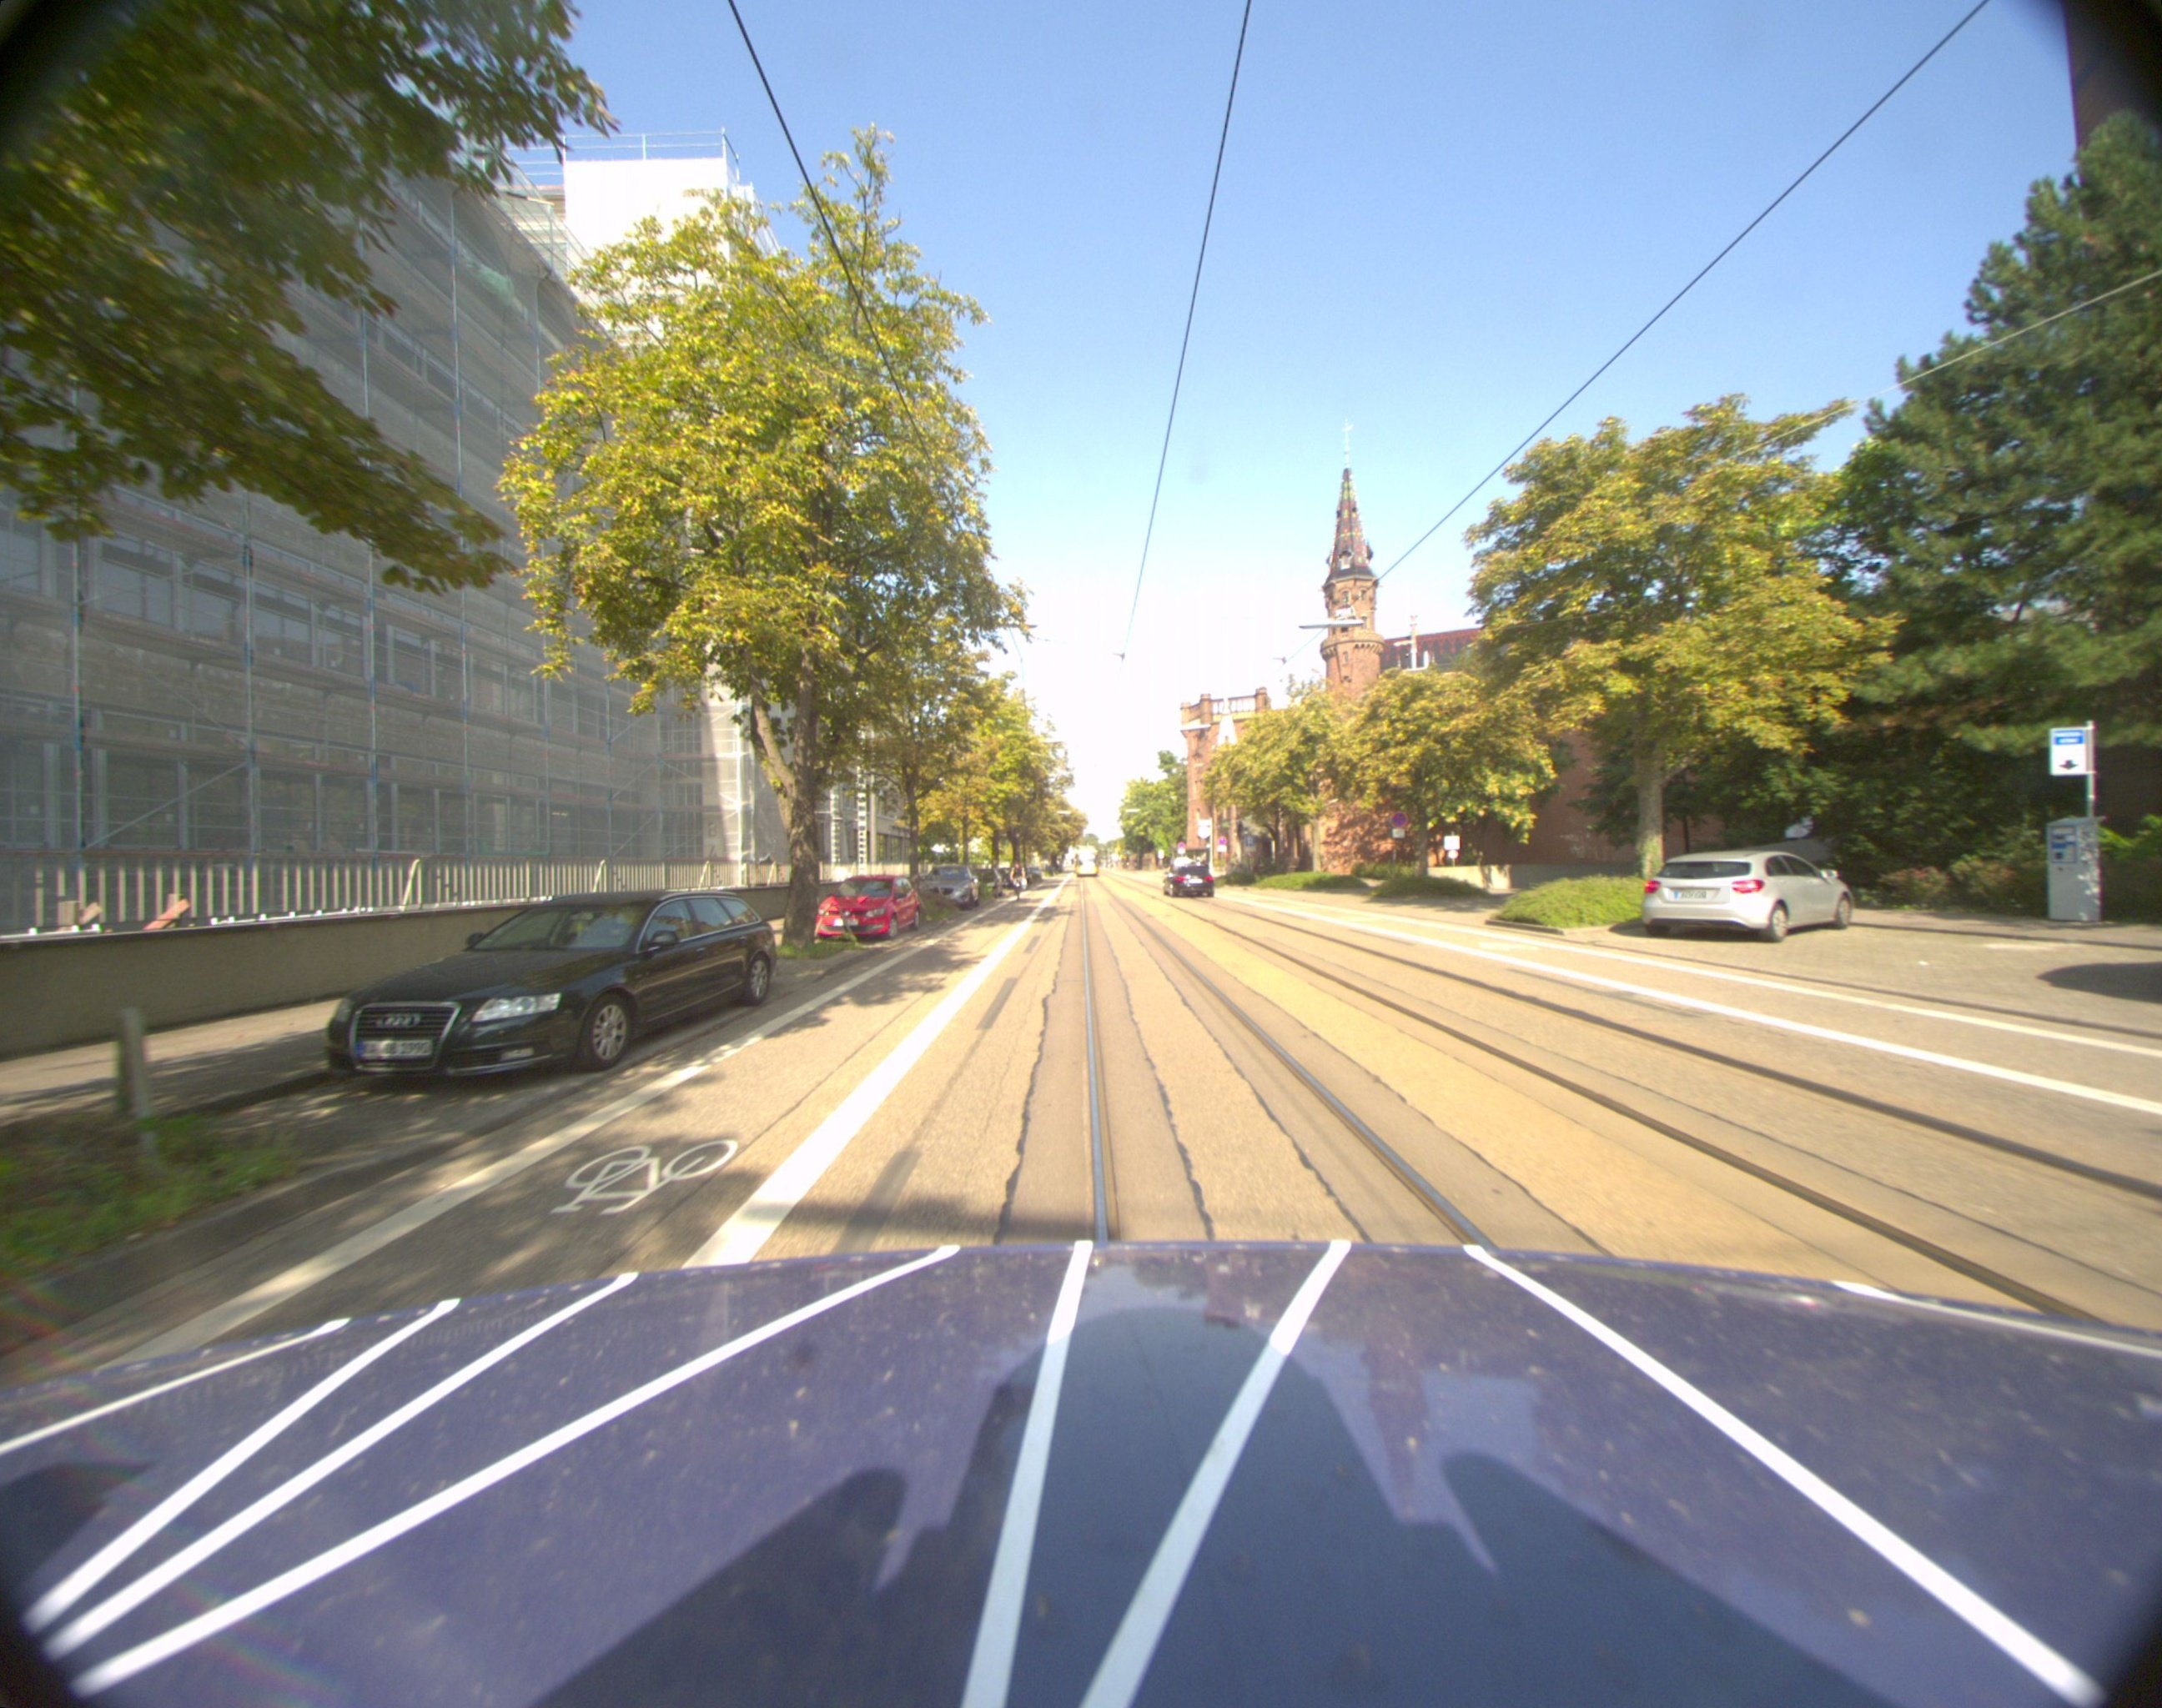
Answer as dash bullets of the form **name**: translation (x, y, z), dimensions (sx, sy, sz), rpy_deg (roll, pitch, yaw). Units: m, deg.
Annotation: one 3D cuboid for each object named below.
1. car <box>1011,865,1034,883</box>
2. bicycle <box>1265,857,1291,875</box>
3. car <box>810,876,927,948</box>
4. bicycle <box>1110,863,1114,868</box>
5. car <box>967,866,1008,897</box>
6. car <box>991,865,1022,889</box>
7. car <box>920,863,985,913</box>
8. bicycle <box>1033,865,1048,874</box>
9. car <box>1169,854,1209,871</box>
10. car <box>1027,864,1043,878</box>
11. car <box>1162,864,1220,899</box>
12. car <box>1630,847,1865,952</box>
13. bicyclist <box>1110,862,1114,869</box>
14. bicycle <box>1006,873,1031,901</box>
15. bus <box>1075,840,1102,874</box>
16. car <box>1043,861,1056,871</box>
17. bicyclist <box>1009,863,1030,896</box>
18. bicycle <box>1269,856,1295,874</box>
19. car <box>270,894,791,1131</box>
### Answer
- **car**: translation (-4.885, 1.652, 63.546), dimensions (1.650, 1.420, 4.084), rpy_deg (0, 0, -1)
- **bicycle**: translation (14.022, 0.838, 54.085), dimensions (1.810, 1.068, 0.420), rpy_deg (-6, 2, -22)
- **car**: translation (-4.908, 1.286, 18.075), dimensions (1.620, 1.405, 4.000), rpy_deg (-1, 0, 0)
- **bicycle**: translation (7.293, 2.787, 178.408), dimensions (0.699, 1.151, 2.037), rpy_deg (-1, 0, -2)
- **car**: translation (-4.750, 1.389, 38.976), dimensions (1.580, 1.476, 3.738), rpy_deg (0, 0, 1)
- **car**: translation (-4.978, 1.518, 51.276), dimensions (1.650, 1.502, 3.778), rpy_deg (0, 0, 0)
- **car**: translation (-4.712, 1.217, 28.484), dimensions (1.758, 1.681, 4.396), rpy_deg (-2, -1, -2)
- **bicycle**: translation (-5.055, 1.950, 94.484), dimensions (1.773, 1.057, 0.796), rpy_deg (0, 0, -2)
- **car**: translation (12.901, 1.061, 91.184), dimensions (4.407, 1.636, 1.957), rpy_deg (-5, 0, 1)
- **car**: translation (-4.932, 1.792, 82.033), dimensions (1.644, 1.421, 3.988), rpy_deg (0, 0, -2)
- **car**: translation (4.706, 1.148, 33.203), dimensions (1.833, 1.368, 4.512), rpy_deg (-1, 0, -1)
- **car**: translation (11.526, 0.697, 13.106), dimensions (4.006, 1.470, 1.785), rpy_deg (-2, 0, -29)
- **bicyclist**: translation (7.292, 2.599, 178.379), dimensions (0.699, 1.571, 1.087), rpy_deg (-2, 1, -2)
- **bicycle**: translation (-2.758, 1.439, 33.814), dimensions (0.789, 1.138, 2.305), rpy_deg (-1, 0, 2)
- **bus**: translation (0.969, 0.388, 89.656), dimensions (2.900, 3.771, 9.320), rpy_deg (-1, 0, 2)
- **car**: translation (-4.686, 1.778, 112.488), dimensions (1.745, 1.477, 4.437), rpy_deg (-2, 0, -1)
- **bicyclist**: translation (-2.751, 1.126, 33.966), dimensions (0.789, 1.461, 1.116), rpy_deg (-1, 0, 2)
- **bicycle**: translation (14.189, 0.789, 53.652), dimensions (1.810, 1.068, 0.420), rpy_deg (-6, 2, -22)
- **car**: translation (-4.662, 1.205, 7.573), dimensions (1.620, 1.366, 4.827), rpy_deg (-1, 0, 1)
